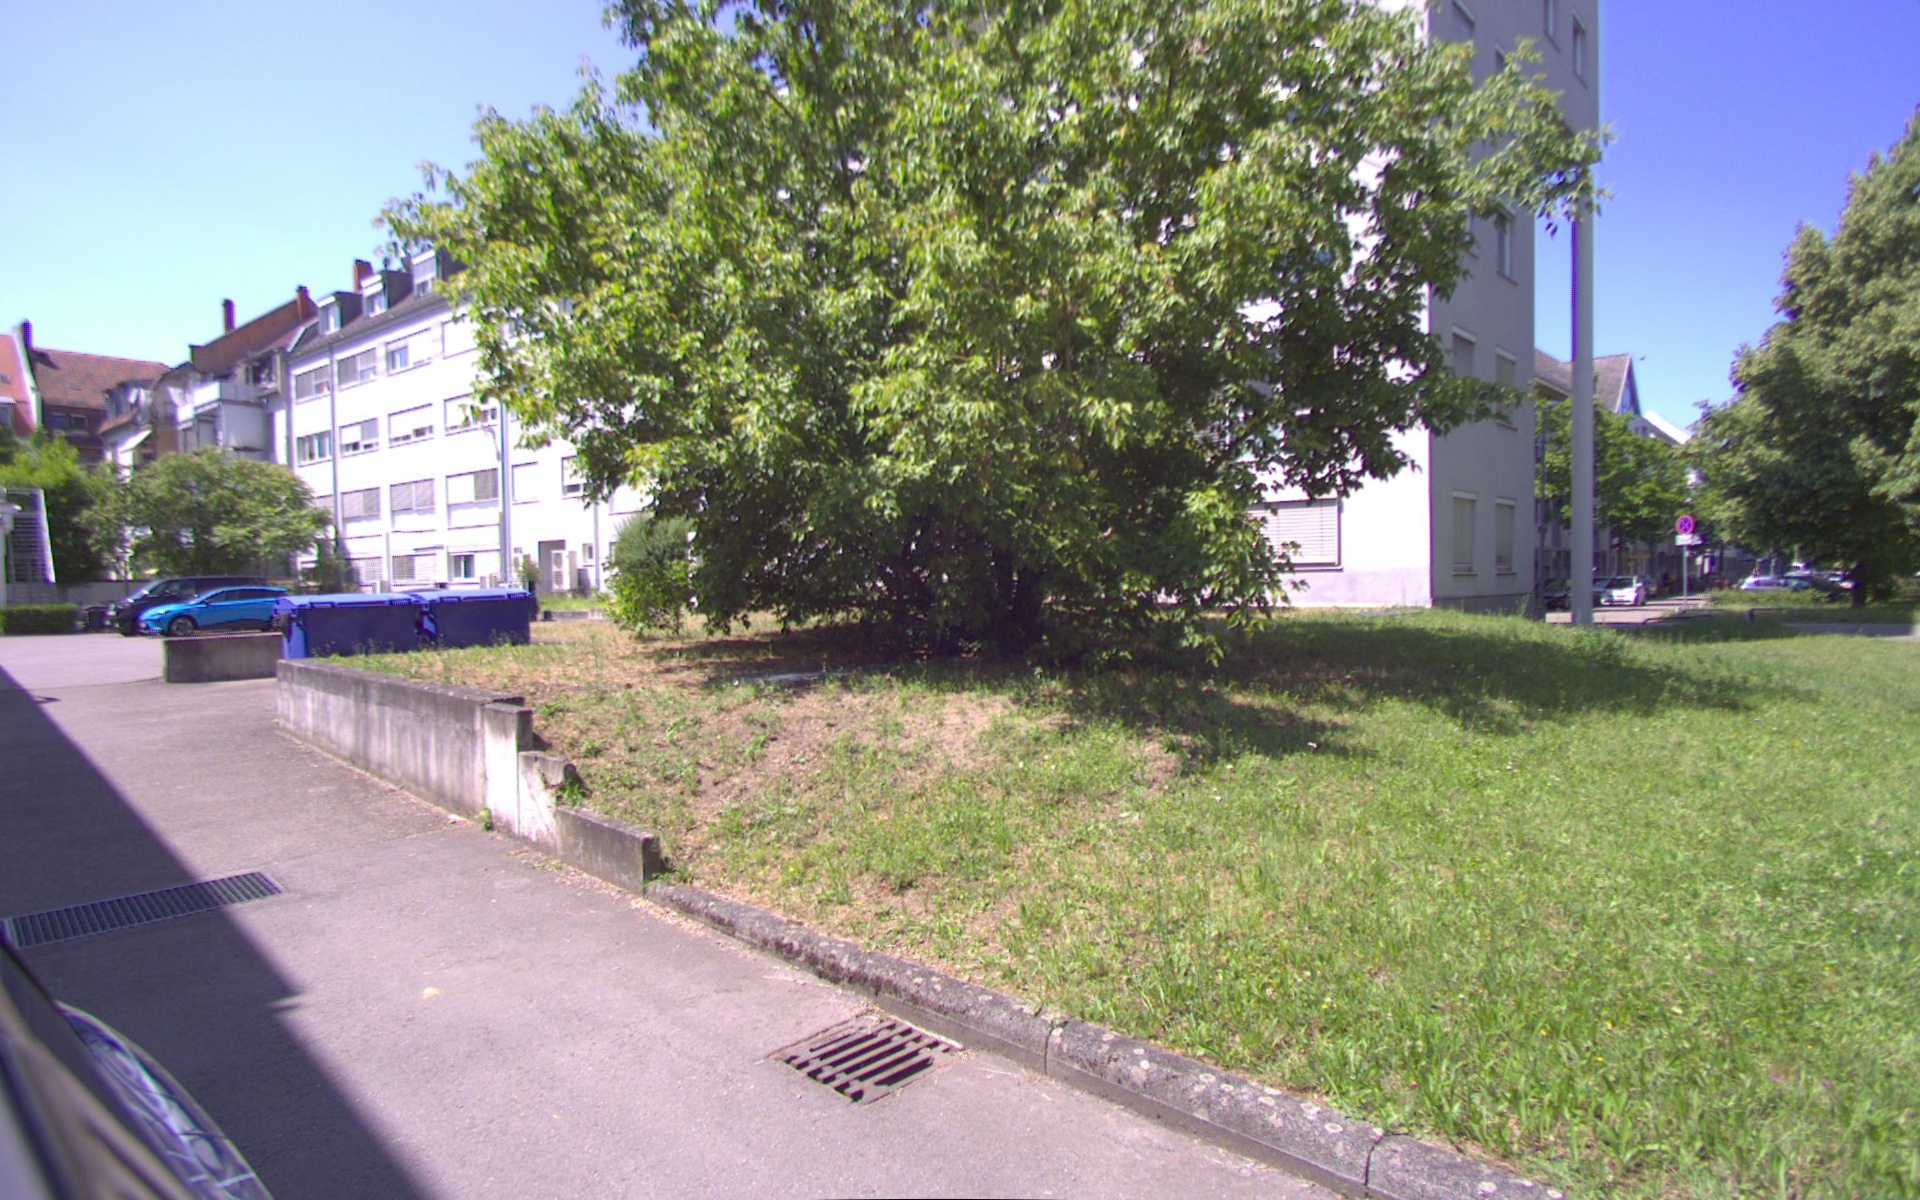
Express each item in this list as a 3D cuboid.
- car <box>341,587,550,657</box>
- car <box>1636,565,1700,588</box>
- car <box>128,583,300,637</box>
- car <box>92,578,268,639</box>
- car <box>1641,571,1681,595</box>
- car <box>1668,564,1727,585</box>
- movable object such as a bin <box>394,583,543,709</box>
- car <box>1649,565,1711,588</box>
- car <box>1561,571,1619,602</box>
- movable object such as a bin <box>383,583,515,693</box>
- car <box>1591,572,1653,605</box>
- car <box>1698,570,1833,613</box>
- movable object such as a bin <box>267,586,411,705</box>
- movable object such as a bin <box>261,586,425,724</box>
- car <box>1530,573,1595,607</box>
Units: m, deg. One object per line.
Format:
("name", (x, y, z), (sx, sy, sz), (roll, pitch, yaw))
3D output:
("car", (-11.747, 0.440, 23.320), (1.710, 1.447, 3.947), (0, 1, 40))
("car", (55.478, -1.811, 79.320), (3.994, 1.746, 1.770), (0, 2, 38))
("car", (-24.058, 0.286, 32.752), (1.857, 1.565, 4.116), (0, 2, 39))
("car", (-26.316, 0.229, 34.258), (1.999, 1.845, 4.392), (0, 2, 41))
("car", (49.038, -1.214, 70.754), (1.974, 1.630, 4.116), (1, 2, 39))
("car", (62.318, -2.140, 85.516), (3.994, 1.746, 1.770), (0, 2, 38))
("movable object such as a bin", (-5.764, 0.495, 11.872), (1.104, 1.337, 1.240), (0, 2, 44))
("car", (57.469, -1.894, 80.828), (3.994, 1.746, 1.770), (0, 2, 38))
("car", (34.669, -0.790, 55.649), (1.976, 1.630, 4.112), (1, 2, 43))
("movable object such as a bin", (-6.780, 0.472, 13.435), (1.104, 1.337, 1.240), (0, 2, 44))
("car", (33.736, -0.608, 51.543), (1.977, 1.630, 4.111), (1, 2, 43))
("car", (32.298, -0.376, 40.634), (4.169, 1.630, 1.949), (1, 2, 41))
("movable object such as a bin", (-7.637, 0.521, 12.463), (1.104, 1.337, 1.240), (0, 2, 44))
("movable object such as a bin", (-6.650, 0.544, 10.915), (1.104, 1.337, 1.240), (0, 2, 44))
("car", (30.297, -0.545, 50.846), (1.977, 1.630, 4.111), (1, 2, 43))
